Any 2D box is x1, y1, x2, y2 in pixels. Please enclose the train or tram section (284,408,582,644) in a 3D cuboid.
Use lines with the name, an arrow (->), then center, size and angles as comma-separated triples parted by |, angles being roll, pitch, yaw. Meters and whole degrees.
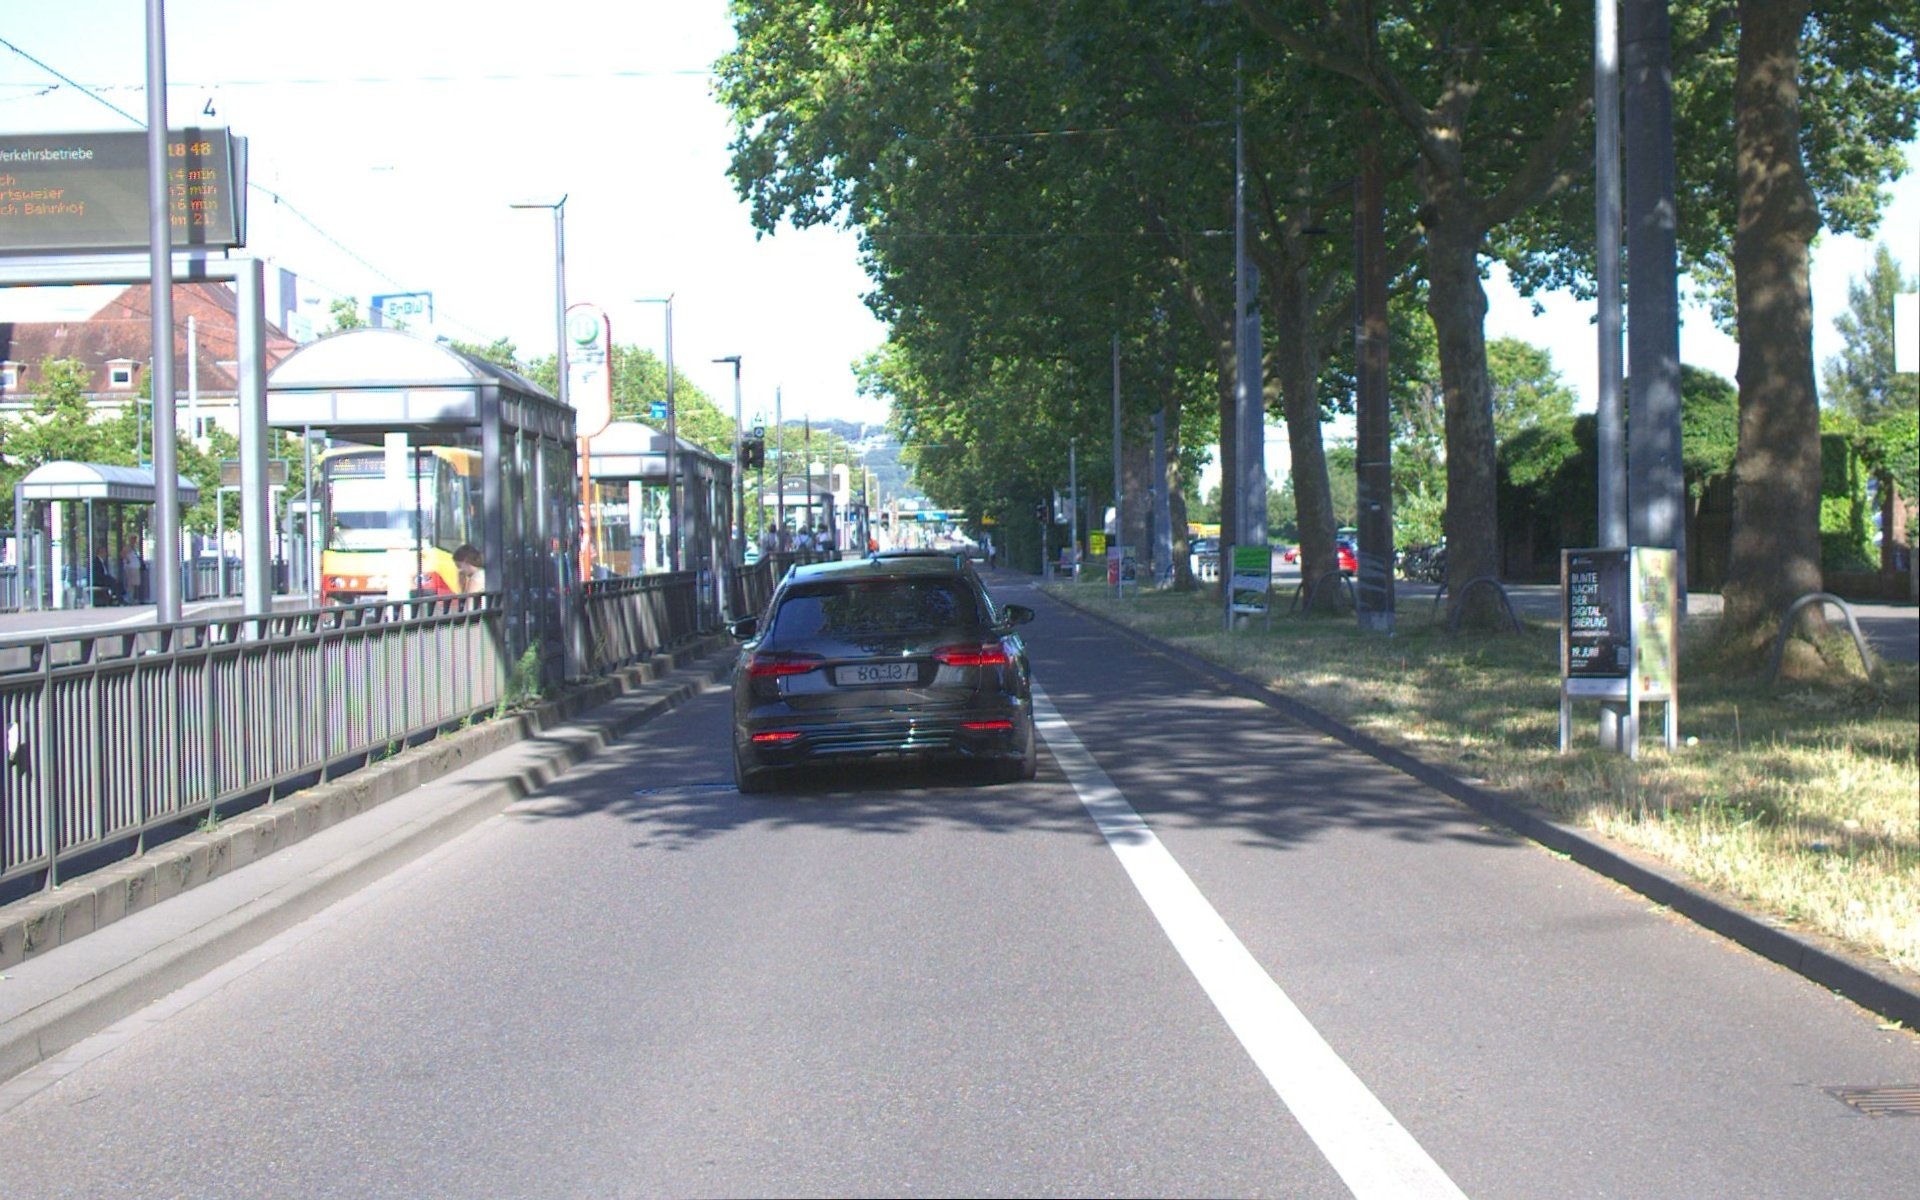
train or tram section -> -9.404, -1.306, 63.365 | 3.309, 3.816, 14.220 | -1, 1, 0

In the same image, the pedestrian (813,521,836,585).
pedestrian -> -3.808, -1.321, 96.729 | 0.611, 1.778, 0.613 | -1, 1, 0

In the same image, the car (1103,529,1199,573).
car -> 8.049, -2.062, 145.170 | 3.987, 1.758, 1.833 | -1, 0, 1

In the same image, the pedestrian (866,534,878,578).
pedestrian -> -3.419, -1.720, 133.743 | 0.412, 1.711, 0.666 | -1, 1, 0

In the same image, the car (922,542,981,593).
car -> -0.291, -1.076, 111.973 | 1.762, 1.614, 4.000 | -1, 1, -2

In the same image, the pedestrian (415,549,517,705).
pedestrian -> -4.077, 0.217, 28.416 | 0.742, 1.269, 0.525 | -1, 1, 0

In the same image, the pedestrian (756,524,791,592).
pedestrian -> -4.262, -0.965, 78.547 | 0.614, 1.543, 0.724 | -1, 1, 10

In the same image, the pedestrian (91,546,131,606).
pedestrian -> -18.056, -0.519, 73.135 | 0.614, 1.255, 0.724 | -1, 1, 4

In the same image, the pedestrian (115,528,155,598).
pedestrian -> -18.174, -0.812, 75.718 | 0.614, 1.522, 0.724 | -1, 1, 8

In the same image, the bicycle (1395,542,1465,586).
bicycle -> 12.611, -0.959, 92.235 | 1.773, 1.116, 0.439 | -2, 1, 0

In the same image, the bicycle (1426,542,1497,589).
bicycle -> 12.682, -0.883, 86.998 | 1.687, 1.116, 0.439 | -2, 1, 0

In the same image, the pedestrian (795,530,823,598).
pedestrian -> -3.708, -0.883, 84.271 | 0.611, 1.663, 0.613 | -1, 1, 2

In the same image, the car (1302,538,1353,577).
car -> 14.562, -1.684, 136.274 | 1.614, 1.510, 3.803 | -1, 1, 0

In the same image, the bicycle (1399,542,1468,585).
bicycle -> 12.836, -0.988, 93.279 | 1.773, 1.116, 0.439 | -2, 1, 0

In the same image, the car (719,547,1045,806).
car -> -0.528, 0.426, 22.056 | 1.878, 1.452, 3.357 | -2, 1, -2

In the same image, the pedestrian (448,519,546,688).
pedestrian -> -4.218, 0.025, 31.358 | 0.746, 1.503, 0.666 | -1, 1, 3

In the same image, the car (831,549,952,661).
car -> -1.079, 0.044, 52.525 | 1.762, 1.614, 4.000 | -1, 1, -2
